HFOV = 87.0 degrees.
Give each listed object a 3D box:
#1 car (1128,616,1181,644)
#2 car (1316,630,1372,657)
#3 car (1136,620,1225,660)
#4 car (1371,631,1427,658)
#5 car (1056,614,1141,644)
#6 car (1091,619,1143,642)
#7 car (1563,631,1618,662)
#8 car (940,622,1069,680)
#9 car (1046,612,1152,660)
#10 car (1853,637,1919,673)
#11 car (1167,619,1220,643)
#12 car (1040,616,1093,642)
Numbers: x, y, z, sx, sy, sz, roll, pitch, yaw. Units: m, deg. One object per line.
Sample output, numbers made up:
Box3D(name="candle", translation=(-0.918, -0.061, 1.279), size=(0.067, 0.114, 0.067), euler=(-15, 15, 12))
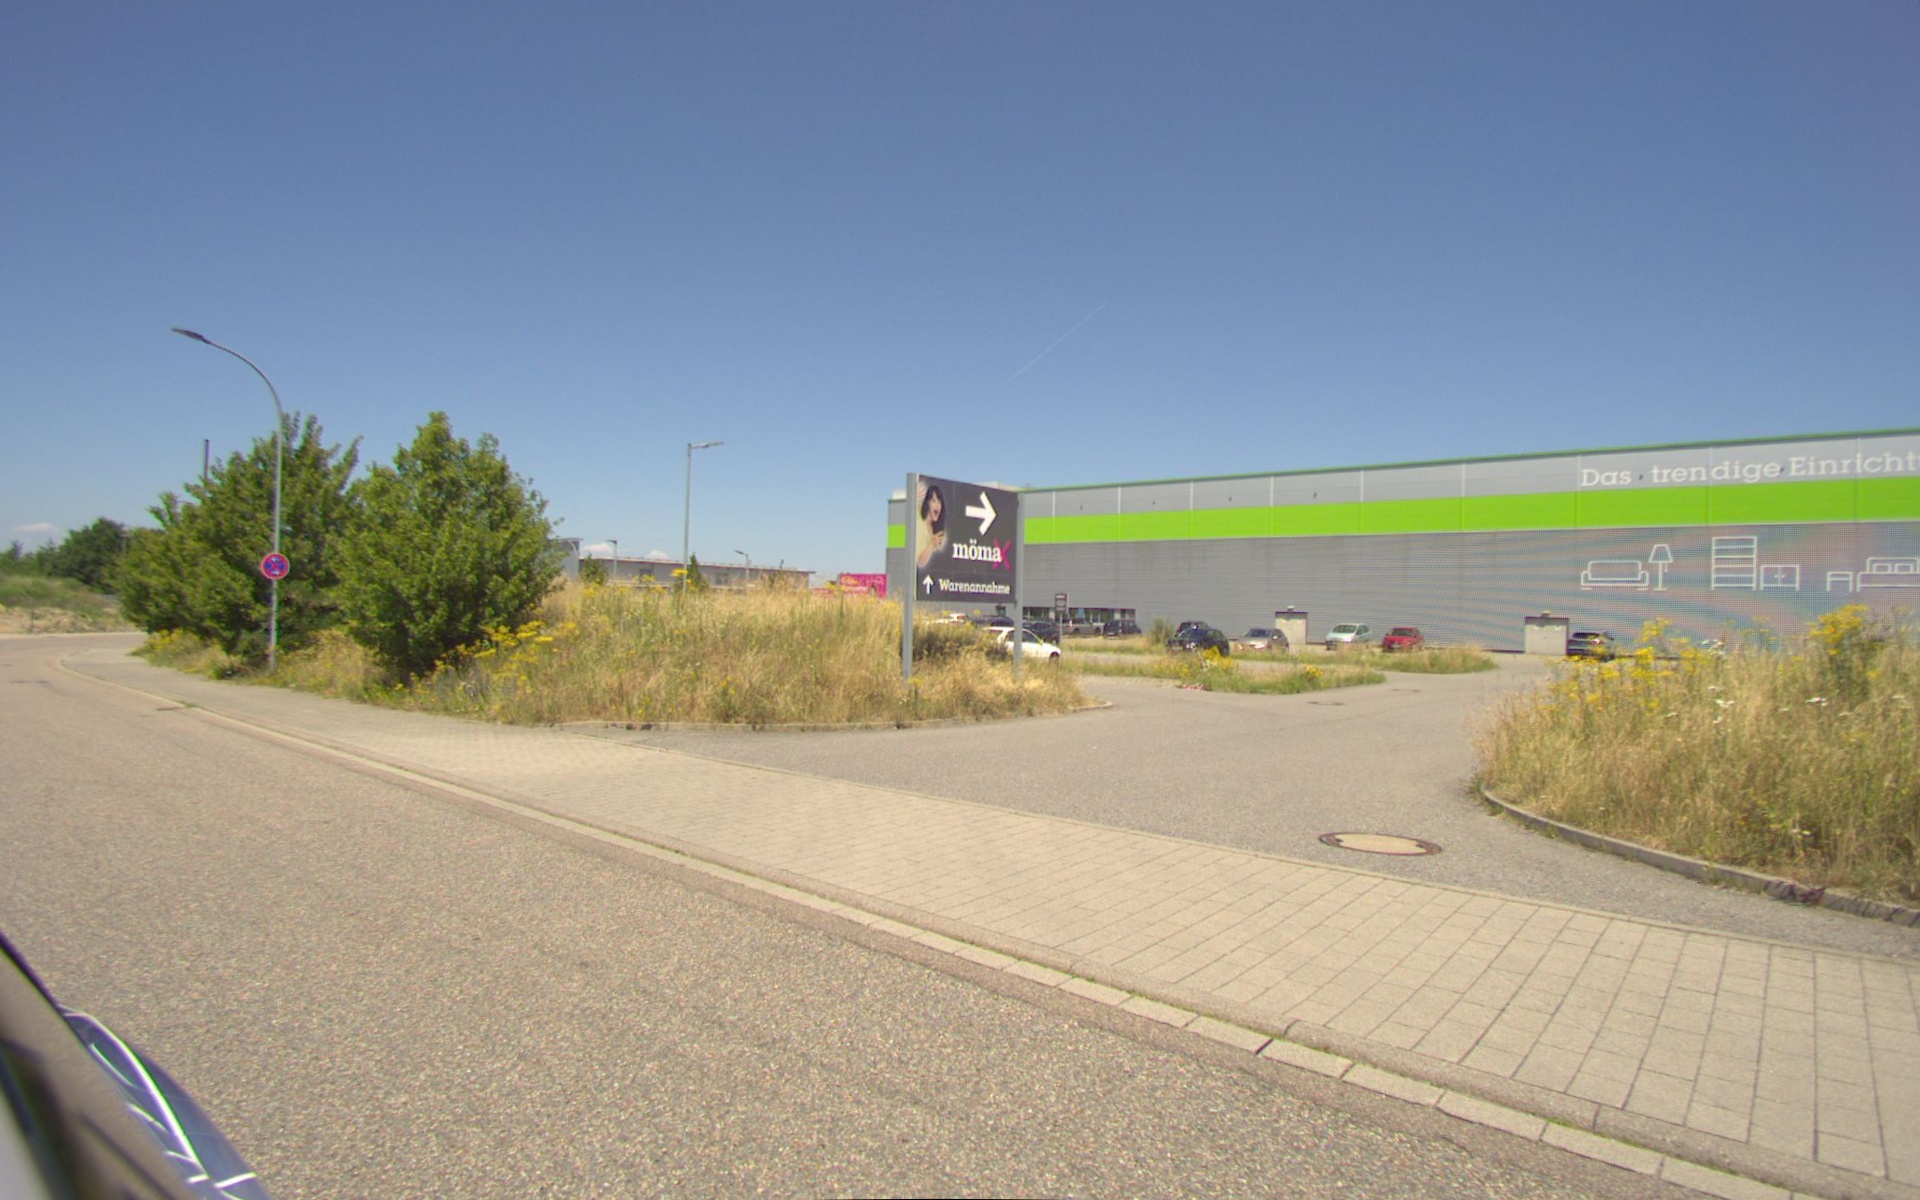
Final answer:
Box3D(name="car", translation=(13.446, 2.014, 69.877), size=(1.998, 1.752, 3.948), euler=(1, 1, 39))
Box3D(name="car", translation=(23.033, 2.584, 60.632), size=(2.095, 1.500, 3.950), euler=(-1, -2, 37))
Box3D(name="car", translation=(10.014, 1.772, 45.781), size=(4.295, 1.556, 1.873), euler=(-1, 0, -44))
Box3D(name="car", translation=(25.304, 2.544, 58.332), size=(2.095, 1.500, 3.950), euler=(-1, -2, 37))
Box3D(name="car", translation=(7.574, 1.569, 55.686), size=(4.361, 1.556, 1.845), euler=(-1, 0, 44))
Box3D(name="car", translation=(11.163, 2.155, 71.744), size=(1.998, 1.534, 3.947), euler=(-1, -2, 39))
Box3D(name="car", translation=(33.063, 2.399, 53.005), size=(2.095, 1.500, 3.950), euler=(-1, -2, 37))
Box3D(name="car", translation=(1.473, 1.545, 31.985), size=(1.870, 1.556, 4.303), euler=(-1, 0, 39))
Box3D(name="car", translation=(5.119, 1.266, 36.854), size=(1.870, 1.556, 4.303), euler=(-1, 0, 39))
Box3D(name="car", translation=(41.451, 2.425, 45.143), size=(2.095, 1.500, 3.950), euler=(-1, -2, 37))
Box3D(name="car", translation=(15.805, 2.099, 68.410), size=(1.998, 1.534, 3.947), euler=(-1, -2, 39))
Box3D(name="car", translation=(7.762, 2.080, 73.427), size=(1.998, 1.752, 3.948), euler=(1, 1, 39))
